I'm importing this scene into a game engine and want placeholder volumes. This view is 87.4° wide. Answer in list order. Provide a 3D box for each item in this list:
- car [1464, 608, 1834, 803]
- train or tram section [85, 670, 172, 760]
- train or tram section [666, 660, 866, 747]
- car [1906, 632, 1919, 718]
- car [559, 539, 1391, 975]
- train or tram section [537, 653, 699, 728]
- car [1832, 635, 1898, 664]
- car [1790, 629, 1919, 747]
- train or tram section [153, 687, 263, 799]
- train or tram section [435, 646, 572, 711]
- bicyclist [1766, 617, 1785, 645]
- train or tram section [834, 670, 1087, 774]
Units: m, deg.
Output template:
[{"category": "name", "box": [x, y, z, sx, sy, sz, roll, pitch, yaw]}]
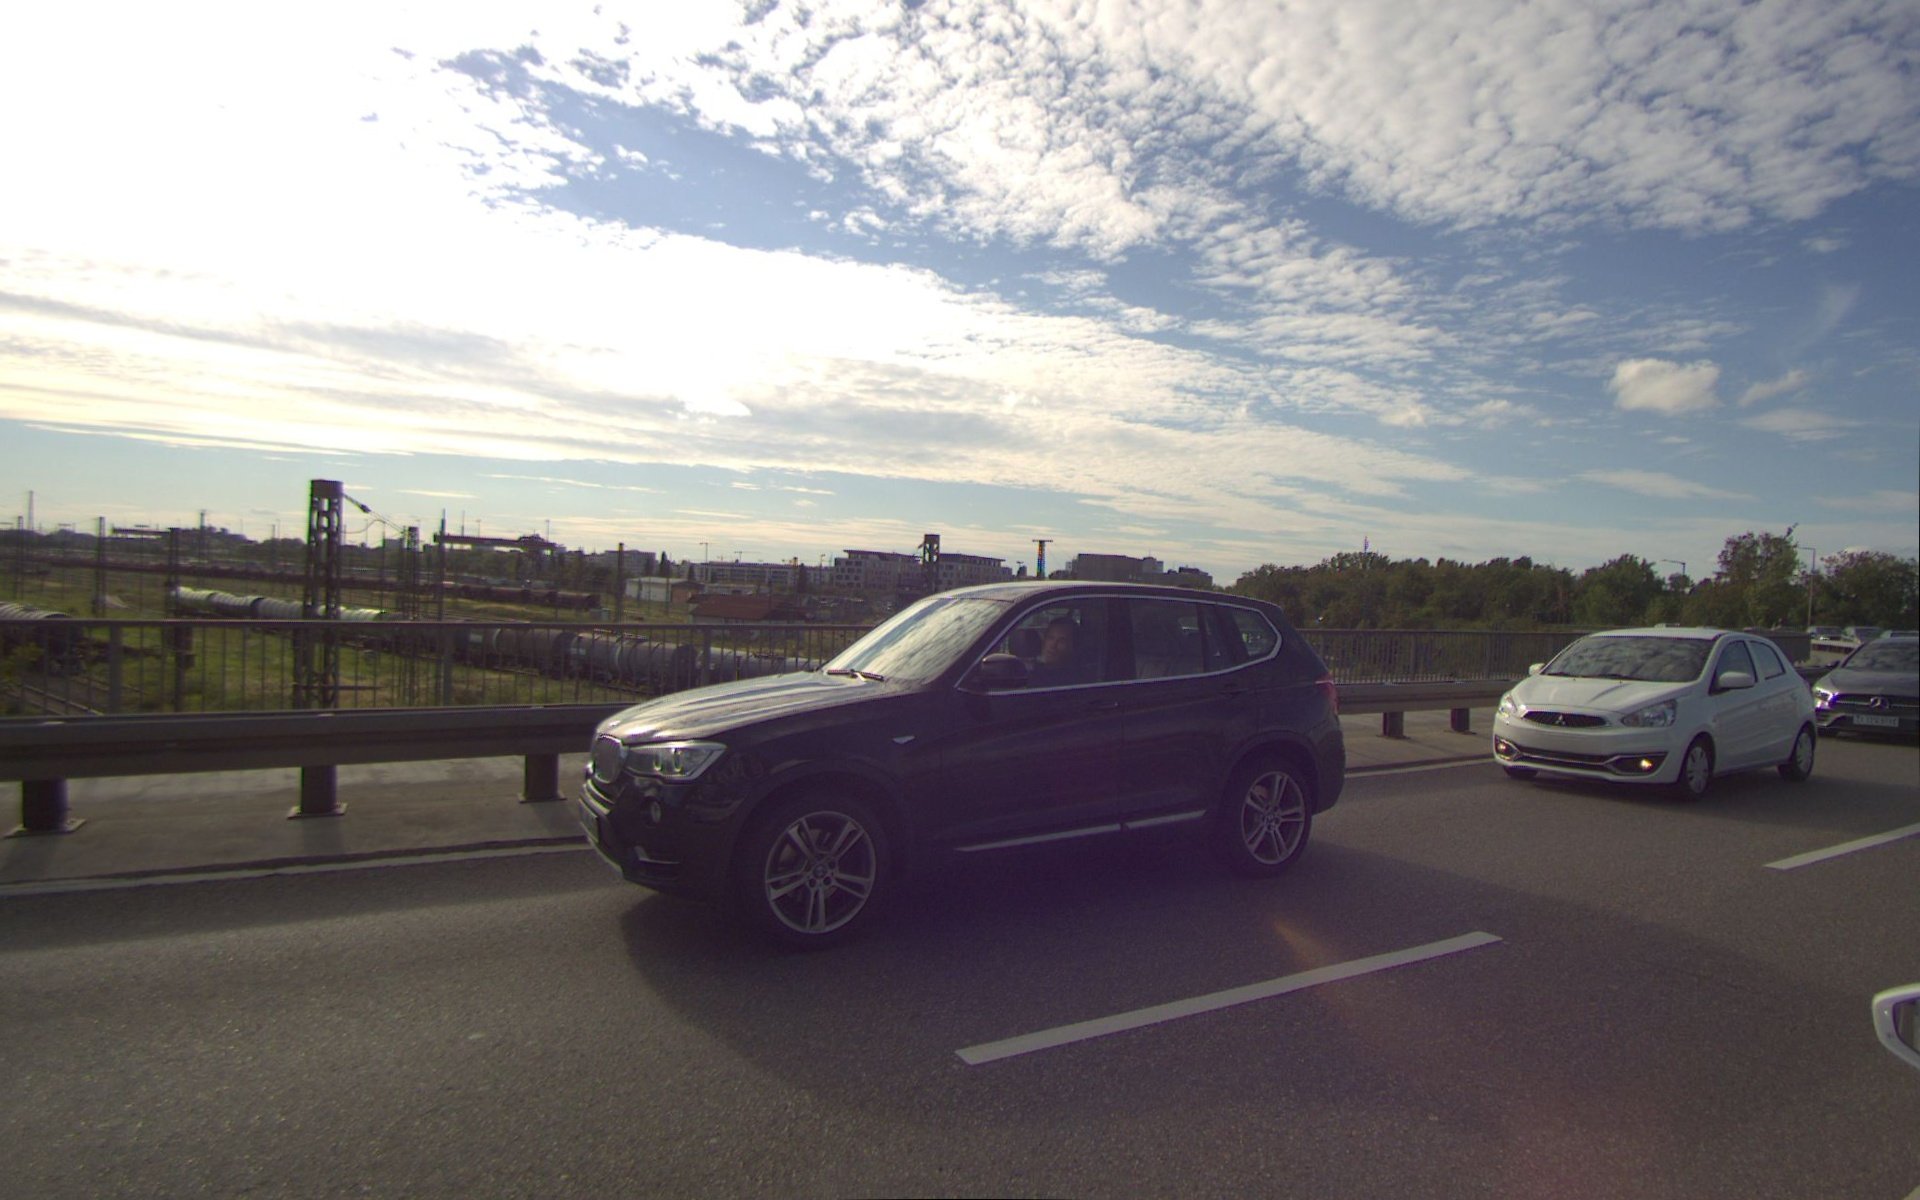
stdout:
[{"category": "car", "box": [6.831, 0.915, 9.868, 3.881, 1.565, 1.673, 2, -2, -34]}, {"category": "train or tram section", "box": [-41.922, 5.669, 50.567, 6.738, 3.834, 2.042, 1, -1, 39]}, {"category": "train or tram section", "box": [-14.000, 7.051, 70.760, 16.468, 4.775, 3.088, 1, -1, 34]}, {"category": "car", "box": [18.921, 1.365, 18.567, 4.358, 1.509, 1.744, 2, -1, -42]}, {"category": "car", "box": [0.239, 0.666, 5.874, 4.576, 1.688, 1.860, 2, -1, -31]}, {"category": "train or tram section", "box": [-27.560, 7.033, 80.191, 16.472, 4.775, 3.087, 1, -1, 35]}, {"category": "car", "box": [52.595, 2.845, 58.457, 1.713, 1.521, 4.074, 1, -1, 25]}, {"category": "car", "box": [13.704, 1.186, 14.390, 4.283, 1.476, 1.801, 2, -1, -36]}, {"category": "train or tram section", "box": [-31.518, 5.819, 41.999, 6.738, 3.834, 2.042, 1, -1, 39]}, {"category": "train or tram section", "box": [-41.006, 6.814, 89.699, 16.472, 4.775, 3.087, 1, -1, 35]}, {"category": "bicyclist", "box": [50.265, 1.929, 61.894, 0.756, 1.682, 1.117, 1, -1, 33]}, {"category": "train or tram section", "box": [-0.357, 7.193, 61.576, 16.463, 4.775, 3.088, 1, -1, 33]}]
